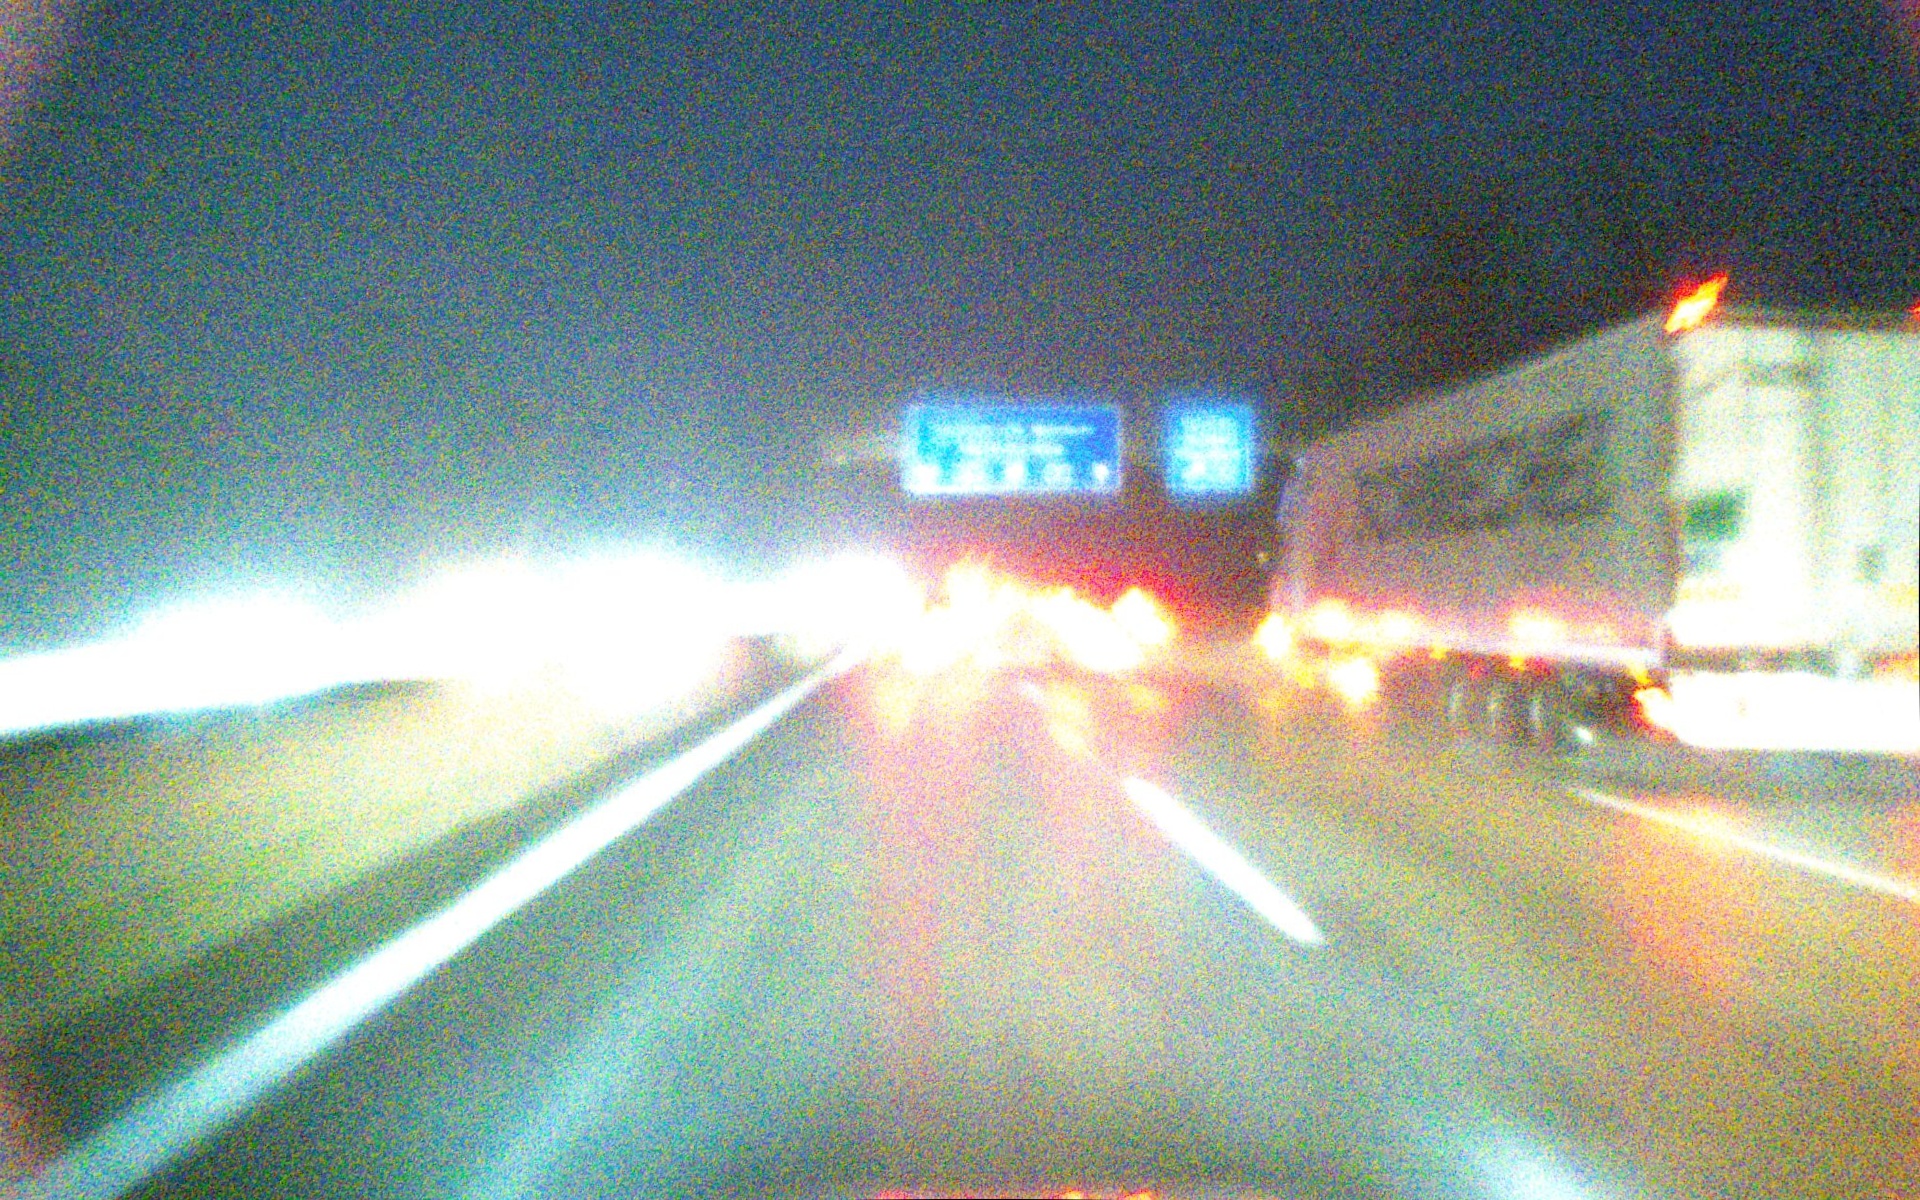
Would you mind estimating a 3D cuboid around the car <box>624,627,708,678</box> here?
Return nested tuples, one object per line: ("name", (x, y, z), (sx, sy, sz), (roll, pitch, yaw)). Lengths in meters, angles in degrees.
("car", (-9.392, 1.651, 53.161), (1.925, 1.501, 4.446), (1, 0, -1))

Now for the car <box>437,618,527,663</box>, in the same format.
("car", (-17.731, 1.476, 61.587), (1.953, 1.527, 4.964), (1, 0, -1))

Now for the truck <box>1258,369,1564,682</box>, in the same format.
("truck", (6.975, -1.041, 26.814), (2.747, 4.341, 7.446), (1, 0, -1))

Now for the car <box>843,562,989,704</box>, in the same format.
("car", (-0.950, 0.591, 33.821), (2.655, 2.578, 5.828), (-2, 0, -3))

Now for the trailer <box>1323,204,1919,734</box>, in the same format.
("trailer", (7.117, -1.065, 19.518), (2.747, 4.286, 12.093), (1, 0, -1))

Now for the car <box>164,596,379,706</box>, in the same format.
("car", (-12.802, 0.900, 31.147), (2.020, 1.856, 4.879), (1, 0, -1))

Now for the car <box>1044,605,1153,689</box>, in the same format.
("car", (2.823, 0.934, 34.510), (1.846, 1.616, 3.999), (1, 0, -1))

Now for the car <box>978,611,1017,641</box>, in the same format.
("car", (2.133, 1.474, 94.622), (2.093, 1.646, 4.000), (1, 0, 0))
